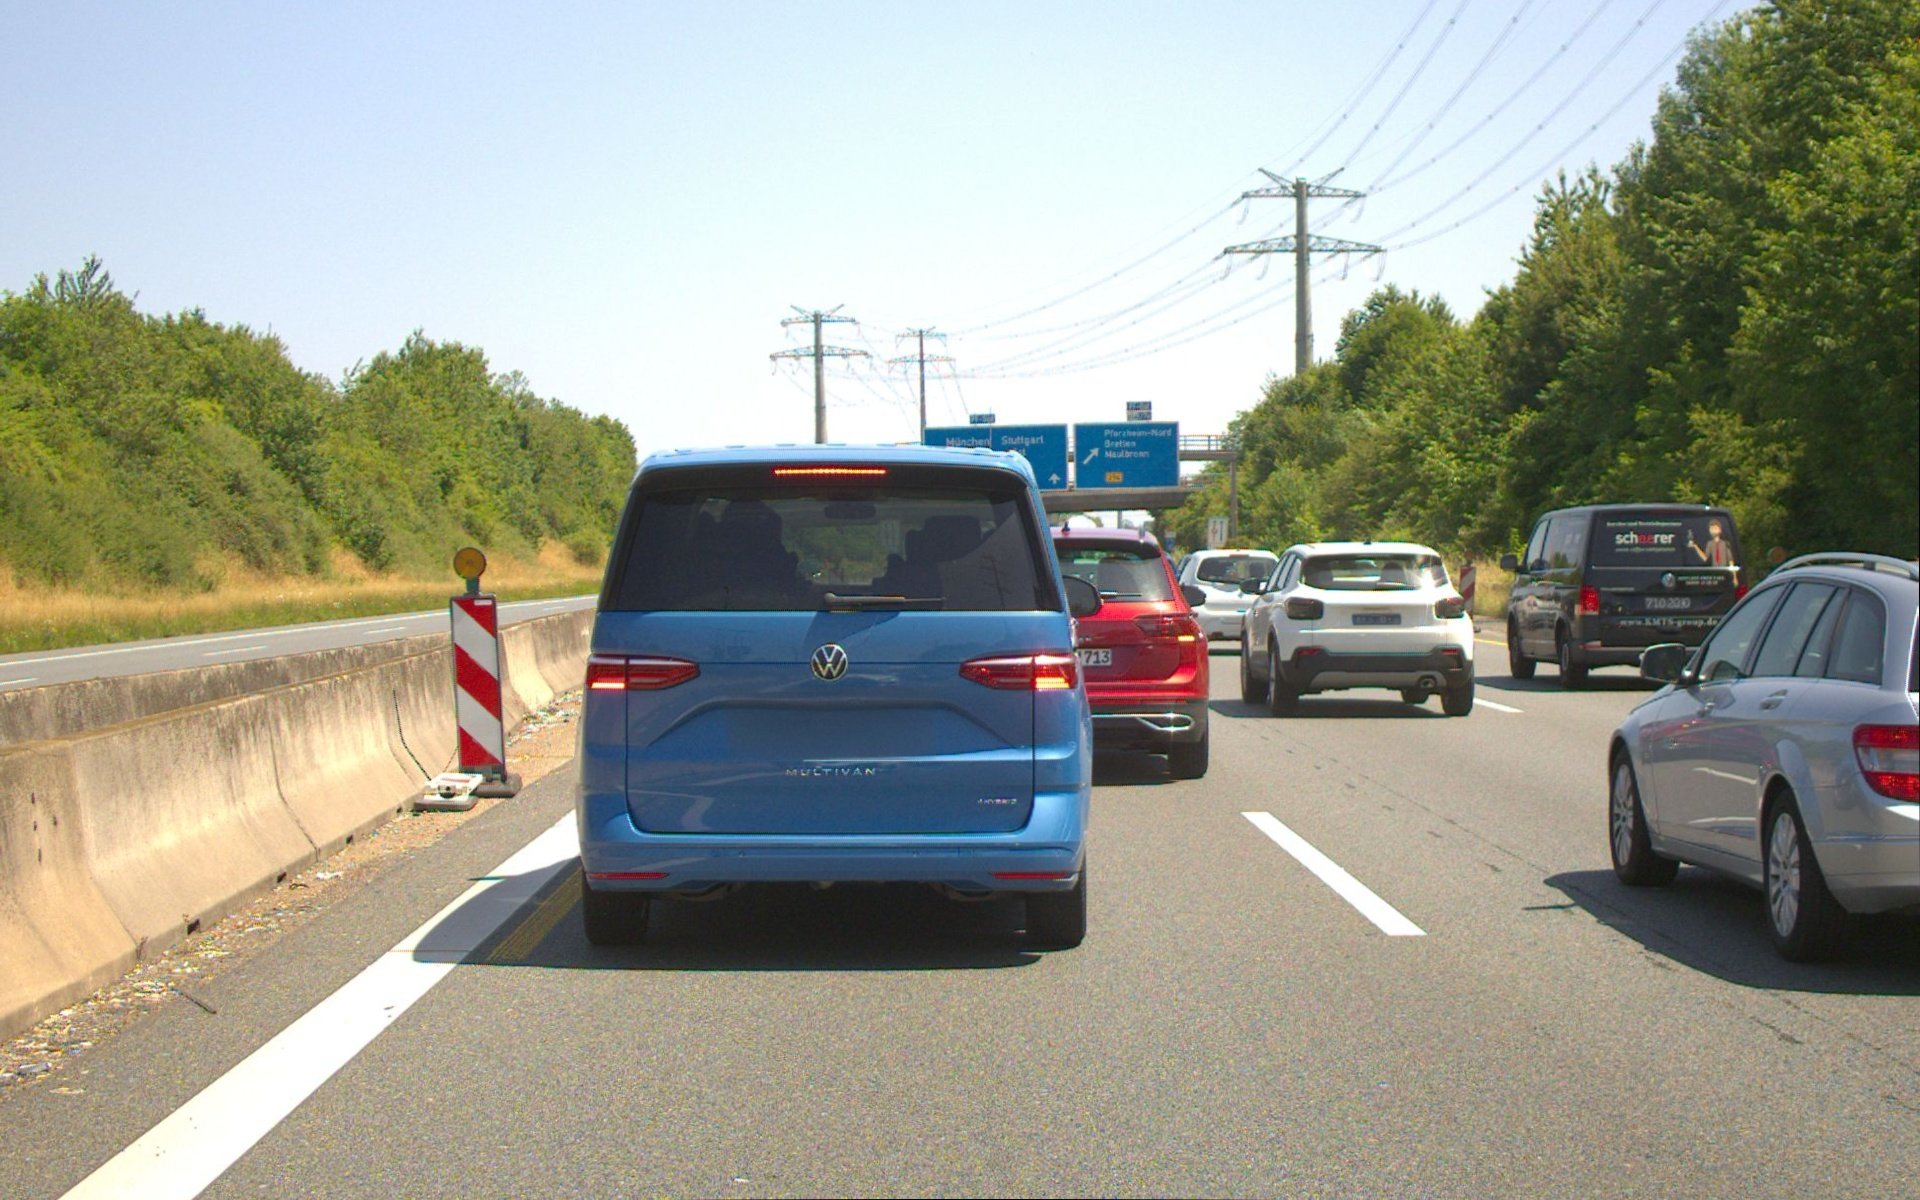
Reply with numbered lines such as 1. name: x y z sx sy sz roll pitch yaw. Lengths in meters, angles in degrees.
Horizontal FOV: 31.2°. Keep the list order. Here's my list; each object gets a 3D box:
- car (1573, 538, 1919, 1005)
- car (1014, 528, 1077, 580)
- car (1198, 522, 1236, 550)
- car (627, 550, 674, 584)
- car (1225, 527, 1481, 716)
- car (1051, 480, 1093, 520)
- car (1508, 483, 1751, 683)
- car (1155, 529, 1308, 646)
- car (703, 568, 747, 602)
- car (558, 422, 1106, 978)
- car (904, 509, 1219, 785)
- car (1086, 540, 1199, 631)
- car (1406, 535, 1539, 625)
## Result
1. car: 3.715 0.539 13.346 1.770 1.512 4.360 1 1 -1
2. car: 2.655 -1.442 107.716 1.797 1.588 4.227 1 1 -1
3. car: 15.733 -3.909 210.639 1.874 1.665 4.360 1 1 -1
4. car: -16.356 -1.761 181.870 1.993 1.644 4.630 -3 1 0
5. car: 3.534 0.158 31.594 1.797 1.588 4.227 1 1 -1
6. car: 6.941 -6.207 214.017 2.377 2.420 4.227 1 1 -1
7. car: 7.174 -0.199 37.219 1.797 2.007 4.227 1 1 0
8. car: 3.854 -0.197 49.428 1.797 1.588 4.227 1 1 -1
9. car: -12.150 -0.790 178.205 1.993 1.656 4.230 -1 1 -1
10. car: -0.495 0.322 14.119 1.874 1.905 4.360 1 1 -1
11. car: 0.585 0.264 23.254 1.874 1.665 4.360 1 1 -1
12. car: 3.334 -0.288 63.480 1.797 1.588 4.227 1 1 -1
13. car: 9.556 -0.390 64.346 1.797 1.588 4.227 1 1 -1
